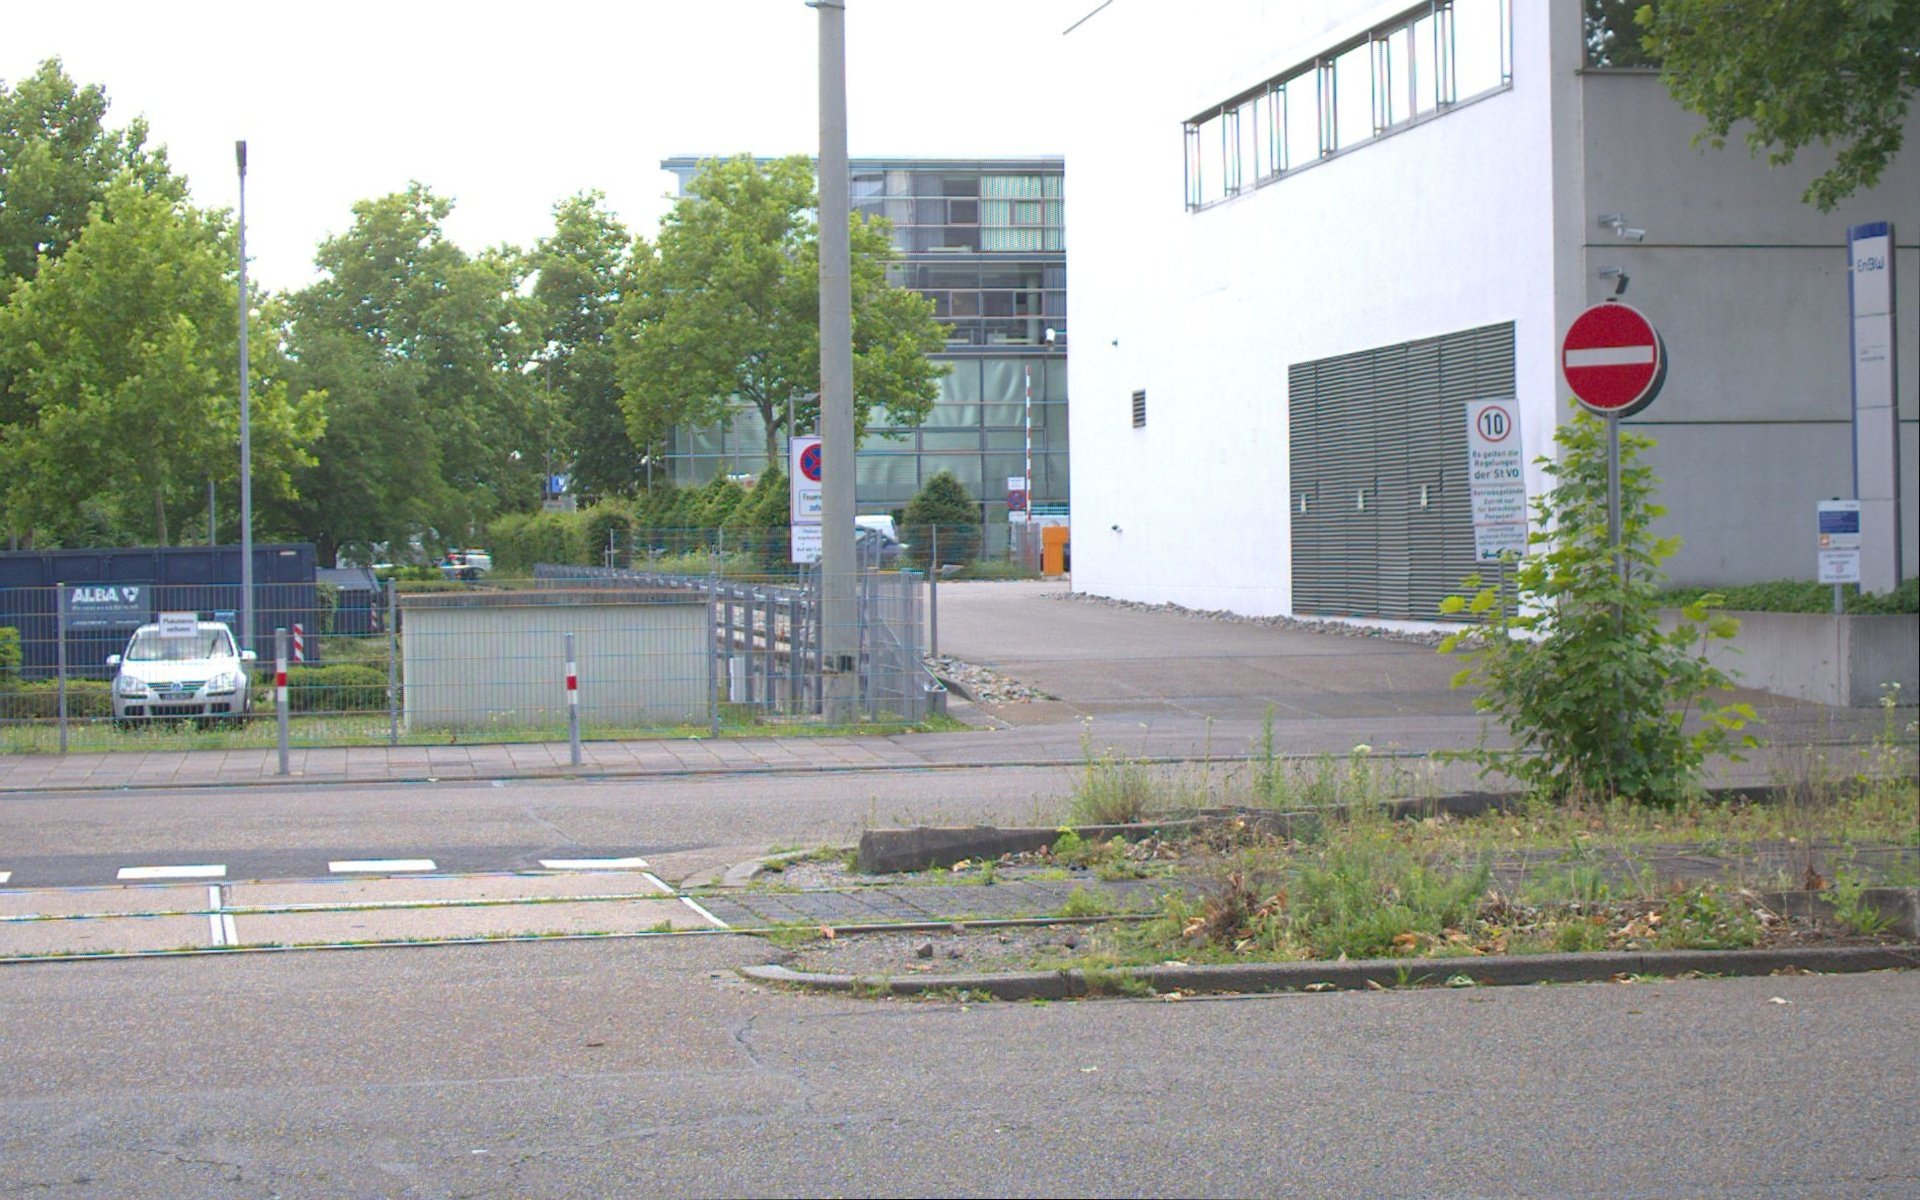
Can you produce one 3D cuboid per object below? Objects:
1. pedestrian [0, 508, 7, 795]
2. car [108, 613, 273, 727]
[{"bbox_3d":[-6.921,0.335,22.251,1.001,1.843,1.229,-1,1,-41],"label":"pedestrian"},{"bbox_3d":[-10.437,0.915,46.859,1.930,1.398,4.082,-1,1,-9],"label":"car"}]
